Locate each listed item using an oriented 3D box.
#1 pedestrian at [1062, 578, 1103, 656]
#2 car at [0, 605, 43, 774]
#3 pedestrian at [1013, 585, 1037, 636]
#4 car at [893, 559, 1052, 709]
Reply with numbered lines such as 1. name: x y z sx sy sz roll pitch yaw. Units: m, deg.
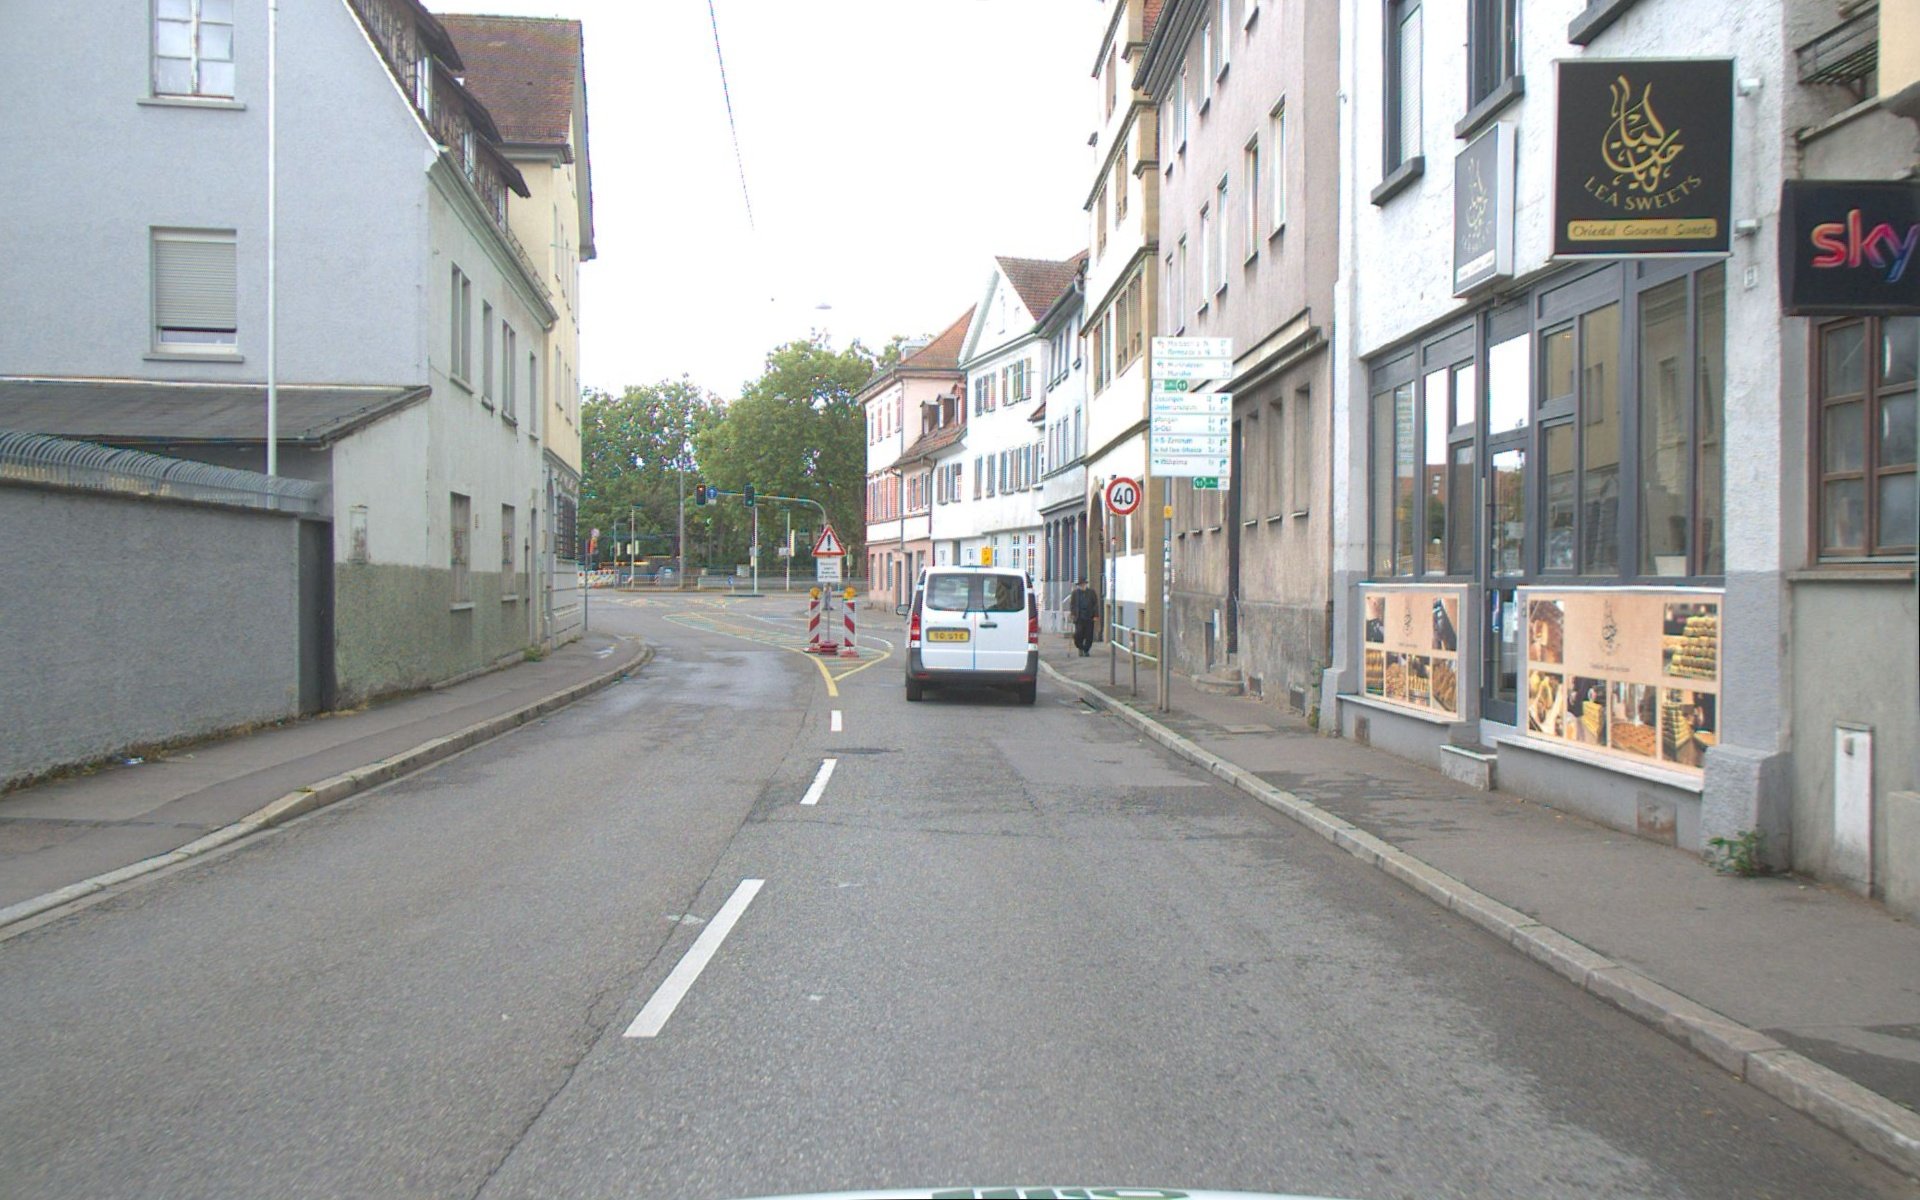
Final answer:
1. pedestrian: 2.695 0.365 36.419 0.815 1.685 0.944 0 0 -1
2. car: -8.225 0.716 11.515 1.805 1.319 4.250 0 0 -8
3. pedestrian: 2.170 0.343 54.982 0.740 1.696 0.809 0 0 -2
4. car: 0.088 0.442 24.416 1.954 1.956 4.245 2 0 -4
